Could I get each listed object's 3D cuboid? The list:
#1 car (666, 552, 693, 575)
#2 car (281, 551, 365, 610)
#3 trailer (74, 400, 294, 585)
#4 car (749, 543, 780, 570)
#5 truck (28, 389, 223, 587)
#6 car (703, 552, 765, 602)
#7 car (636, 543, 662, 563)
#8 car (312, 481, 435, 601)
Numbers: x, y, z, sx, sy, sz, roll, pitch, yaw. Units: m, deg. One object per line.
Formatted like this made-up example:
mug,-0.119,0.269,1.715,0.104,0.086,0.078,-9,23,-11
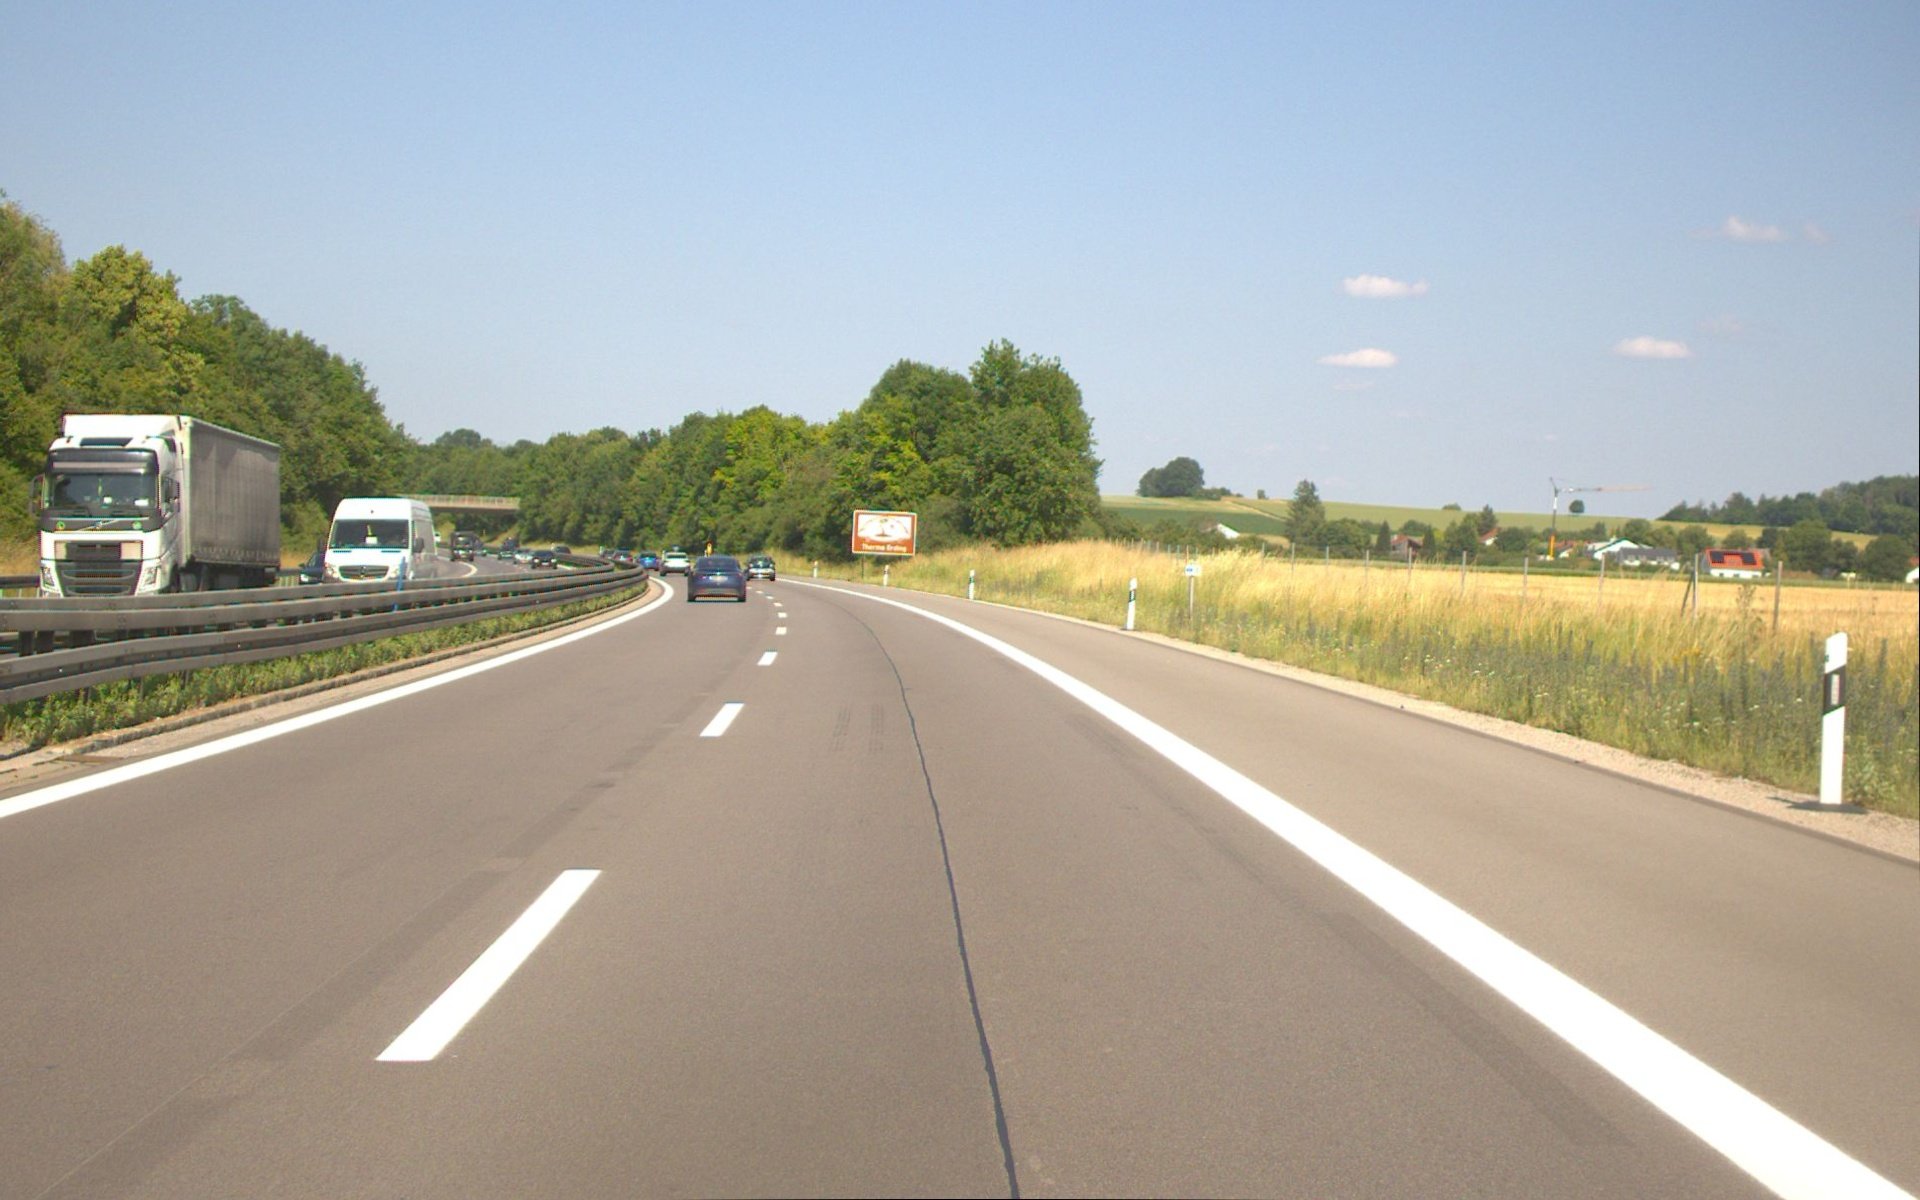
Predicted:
car,-18.186,-2.390,222.952,1.676,1.448,3.592,1,1,-3
car,-18.608,-0.591,100.517,1.757,1.621,4.000,1,1,-1
trailer,-17.388,-2.363,77.867,2.745,3.816,11.924,1,1,-3
car,-11.025,-2.473,193.859,1.676,1.448,3.592,1,1,-5
truck,-16.982,-2.248,70.298,2.745,3.816,5.912,1,1,-3
car,-7.209,-0.756,110.181,1.847,1.428,5.867,1,1,-3
car,-23.460,-3.558,259.655,1.676,1.448,3.592,1,1,-1
car,-13.244,-1.340,78.000,2.088,2.585,5.815,1,1,-4
